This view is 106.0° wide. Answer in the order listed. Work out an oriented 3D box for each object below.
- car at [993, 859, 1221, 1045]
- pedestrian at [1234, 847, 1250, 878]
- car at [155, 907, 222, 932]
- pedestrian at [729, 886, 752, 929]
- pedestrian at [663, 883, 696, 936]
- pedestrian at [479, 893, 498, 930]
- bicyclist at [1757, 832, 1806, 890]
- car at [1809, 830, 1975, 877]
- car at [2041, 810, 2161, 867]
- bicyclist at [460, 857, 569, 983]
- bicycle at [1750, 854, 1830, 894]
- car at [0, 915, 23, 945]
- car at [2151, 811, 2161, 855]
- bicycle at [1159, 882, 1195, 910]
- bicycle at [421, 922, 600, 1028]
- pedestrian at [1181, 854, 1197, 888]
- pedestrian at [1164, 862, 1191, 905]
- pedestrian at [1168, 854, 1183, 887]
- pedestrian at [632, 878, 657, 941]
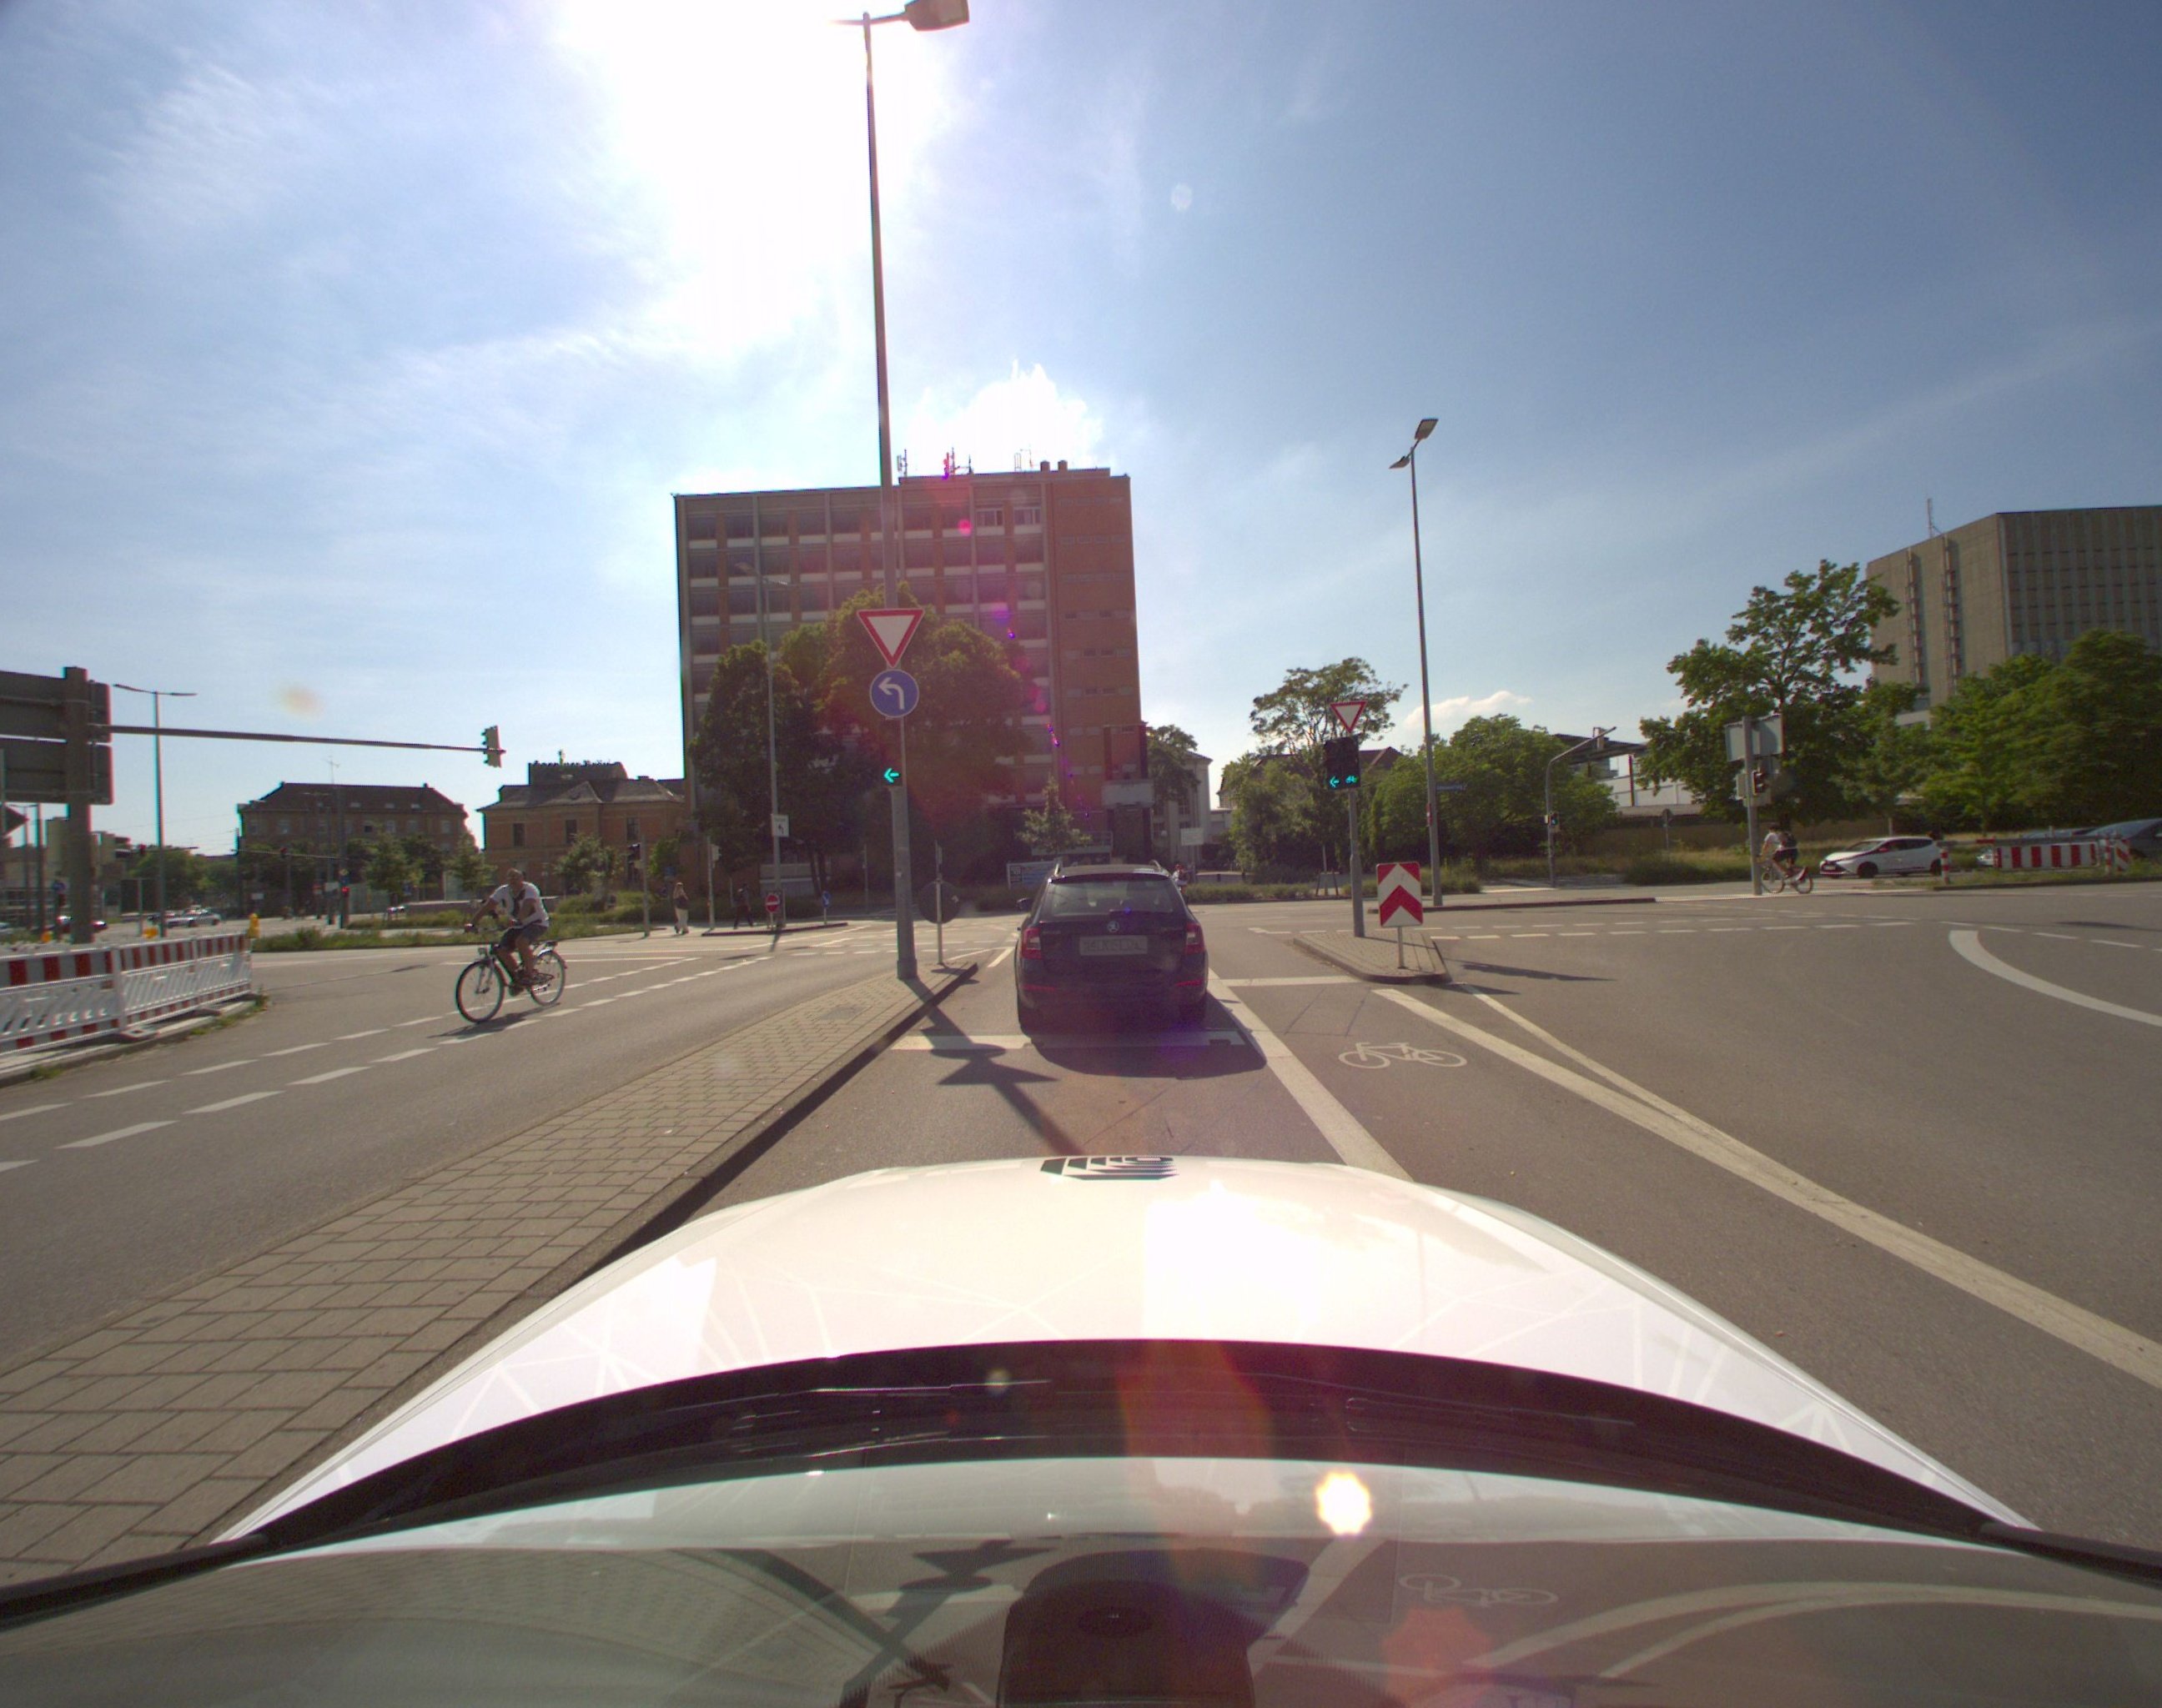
[{"bbox_3d":[0.281,0.790,8.357,1.773,1.443,3.820,-1,-1,2],"label":"car"},{"bbox_3d":[10.408,0.545,52.670,0.786,1.874,0.642,-5,0,25],"label":"pedestrian"},{"bbox_3d":[-87.117,6.387,79.525,1.986,2.013,4.001,-3,-1,2],"label":"car"},{"bbox_3d":[-12.207,1.903,29.203,0.632,1.491,0.614,-3,-1,-15],"label":"pedestrian"},{"bbox_3d":[-13.876,1.901,28.176,0.737,1.752,1.105,-3,-3,-14],"label":"pedestrian"},{"bbox_3d":[-33.722,3.280,46.343,0.624,2.014,0.522,-3,-1,-3],"label":"pedestrian"},{"bbox_3d":[18.081,0.190,21.033,0.491,1.470,1.148,-1,-2,17],"label":"bicyclist"},{"bbox_3d":[29.673,-0.002,29.909,3.972,1.464,2.000,-3,-2,1],"label":"car"},{"bbox_3d":[29.012,-0.465,21.893,4.074,1.406,1.642,-3,-2,7],"label":"car"},{"bbox_3d":[-6.863,0.770,9.917,0.537,1.417,1.030,-4,-2,0],"label":"bicyclist"},{"bbox_3d":[17.901,0.487,20.627,0.667,0.916,2.179,-3,-1,17],"label":"bicycle"},{"bbox_3d":[-77.237,5.456,57.528,2.009,2.013,3.955,-3,-1,-37],"label":"car"},{"bbox_3d":[41.640,-0.881,29.058,4.294,1.569,1.911,-3,-1,1],"label":"car"},{"bbox_3d":[3.309,1.452,28.326,0.597,0.931,2.019,-1,-3,-12],"label":"bicycle"},{"bbox_3d":[-6.841,1.406,9.923,0.702,0.977,2.030,-3,-1,0],"label":"bicycle"},{"bbox_3d":[6.112,0.954,46.089,0.634,1.874,0.797,-4,0,1],"label":"pedestrian"},{"bbox_3d":[3.333,1.015,28.217,0.583,1.466,1.009,-1,-1,-11],"label":"pedestrian"},{"bbox_3d":[5.465,0.941,47.008,0.591,1.874,0.642,-4,-1,25],"label":"pedestrian"},{"bbox_3d":[-14.314,1.816,26.707,0.618,2.014,0.679,1,-2,-36],"label":"pedestrian"}]
